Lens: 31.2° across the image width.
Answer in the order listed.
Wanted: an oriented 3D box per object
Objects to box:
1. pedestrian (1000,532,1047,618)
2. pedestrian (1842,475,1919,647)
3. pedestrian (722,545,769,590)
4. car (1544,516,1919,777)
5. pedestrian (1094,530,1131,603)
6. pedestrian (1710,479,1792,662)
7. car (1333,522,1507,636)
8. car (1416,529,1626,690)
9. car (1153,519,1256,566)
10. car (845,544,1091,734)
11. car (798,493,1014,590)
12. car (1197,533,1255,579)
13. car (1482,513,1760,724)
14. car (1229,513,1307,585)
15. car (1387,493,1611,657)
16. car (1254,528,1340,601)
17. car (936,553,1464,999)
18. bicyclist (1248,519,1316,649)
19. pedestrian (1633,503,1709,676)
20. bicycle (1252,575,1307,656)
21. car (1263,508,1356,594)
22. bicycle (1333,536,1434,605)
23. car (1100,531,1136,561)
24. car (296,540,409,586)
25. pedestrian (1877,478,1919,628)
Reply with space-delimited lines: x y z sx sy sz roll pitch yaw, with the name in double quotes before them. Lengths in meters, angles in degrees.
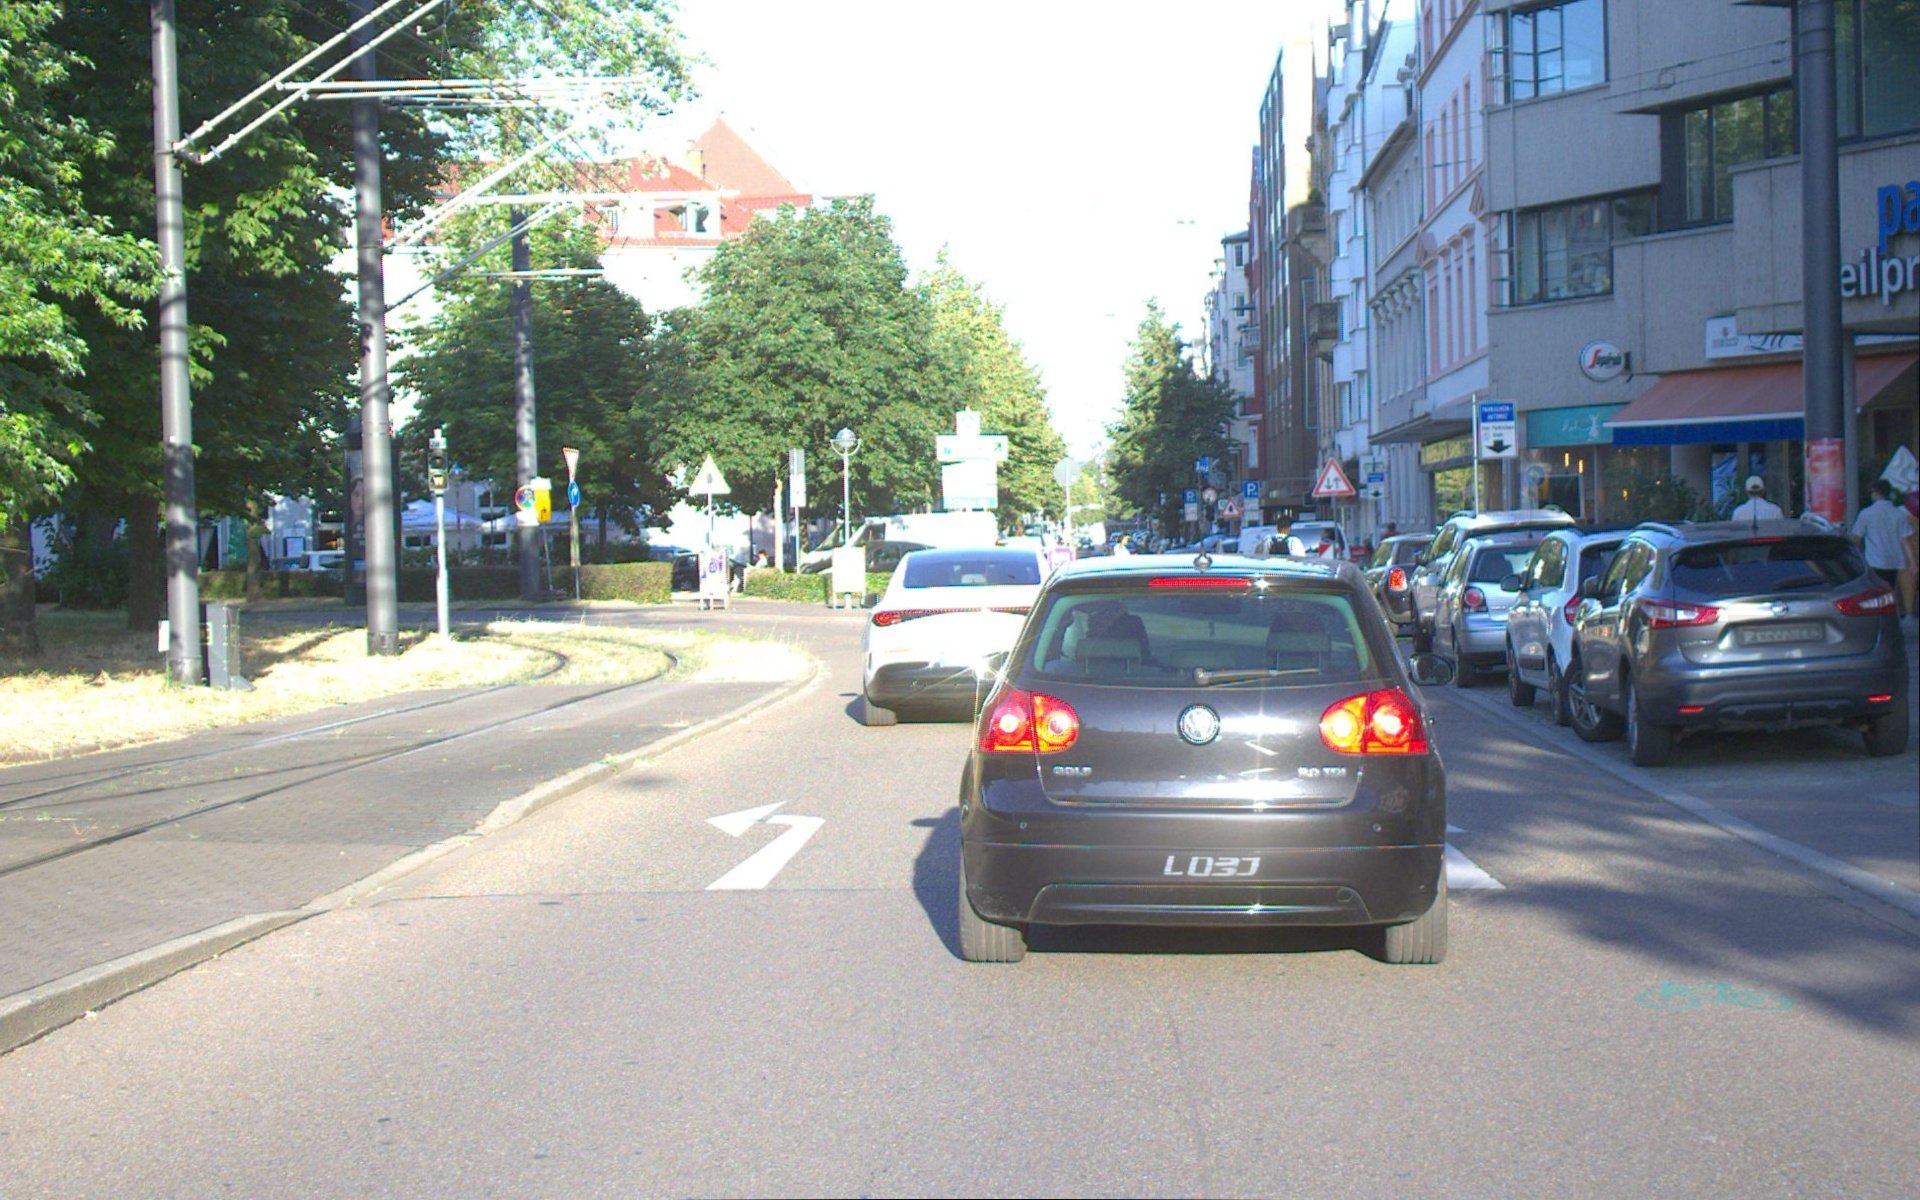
"pedestrian" 1.259 -0.499 68.151 0.859 1.700 0.941 0 1 -4
"pedestrian" 9.584 -0.405 35.651 0.622 1.734 0.662 -4 1 4
"pedestrian" -5.930 -0.901 95.036 1.097 1.222 0.860 0 1 -23
"car" 5.251 0.249 23.873 1.782 1.551 4.234 -3 1 3
"pedestrian" 3.253 -0.718 73.546 0.736 1.549 0.632 -1 1 -1
"pedestrian" 8.200 -0.309 35.659 0.622 1.851 0.662 -4 1 4
"car" 6.385 -0.312 48.051 1.662 1.436 3.824 -4 1 -3
"car" 5.618 0.052 34.803 1.662 1.436 3.854 -3 1 4
"car" 9.730 -2.296 136.589 3.988 1.766 2.000 -1 1 7
"car" 0.139 0.275 29.274 1.865 1.436 4.197 -1 1 3
"car" -1.479 -1.618 94.500 5.510 2.586 2.155 -1 1 -24
"car" 9.309 -1.536 120.563 1.752 1.505 3.545 -3 1 1
"car" 5.433 0.113 28.632 1.607 1.551 3.610 -3 1 1
"car" 8.401 -1.401 94.148 1.925 1.835 4.017 -2 1 3
"car" 6.262 -0.321 40.399 1.867 1.708 4.505 -3 1 0
"car" 7.965 -0.860 81.546 1.735 1.611 3.916 -3 1 2
"car" 0.893 0.565 13.556 1.748 1.456 4.103 -1 1 3
"bicyclist" 4.023 -0.207 42.990 0.777 1.613 1.025 0 1 2
"pedestrian" 7.403 -0.112 35.835 0.579 1.754 0.662 -4 1 4
"bicycle" 3.988 0.181 42.982 0.579 0.984 1.935 0 1 2
"car" 7.732 -1.087 76.370 1.735 1.794 3.916 -2 1 2
"bicycle" 7.453 -0.519 60.519 1.605 1.115 0.611 -2 2 36
"car" 8.688 -2.987 188.992 1.906 1.546 4.000 -1 1 2
"car" -21.196 -1.306 119.931 3.612 1.546 1.663 -1 1 -20
"pedestrian" 11.174 -0.560 40.083 0.697 1.721 1.032 -2 1 4
